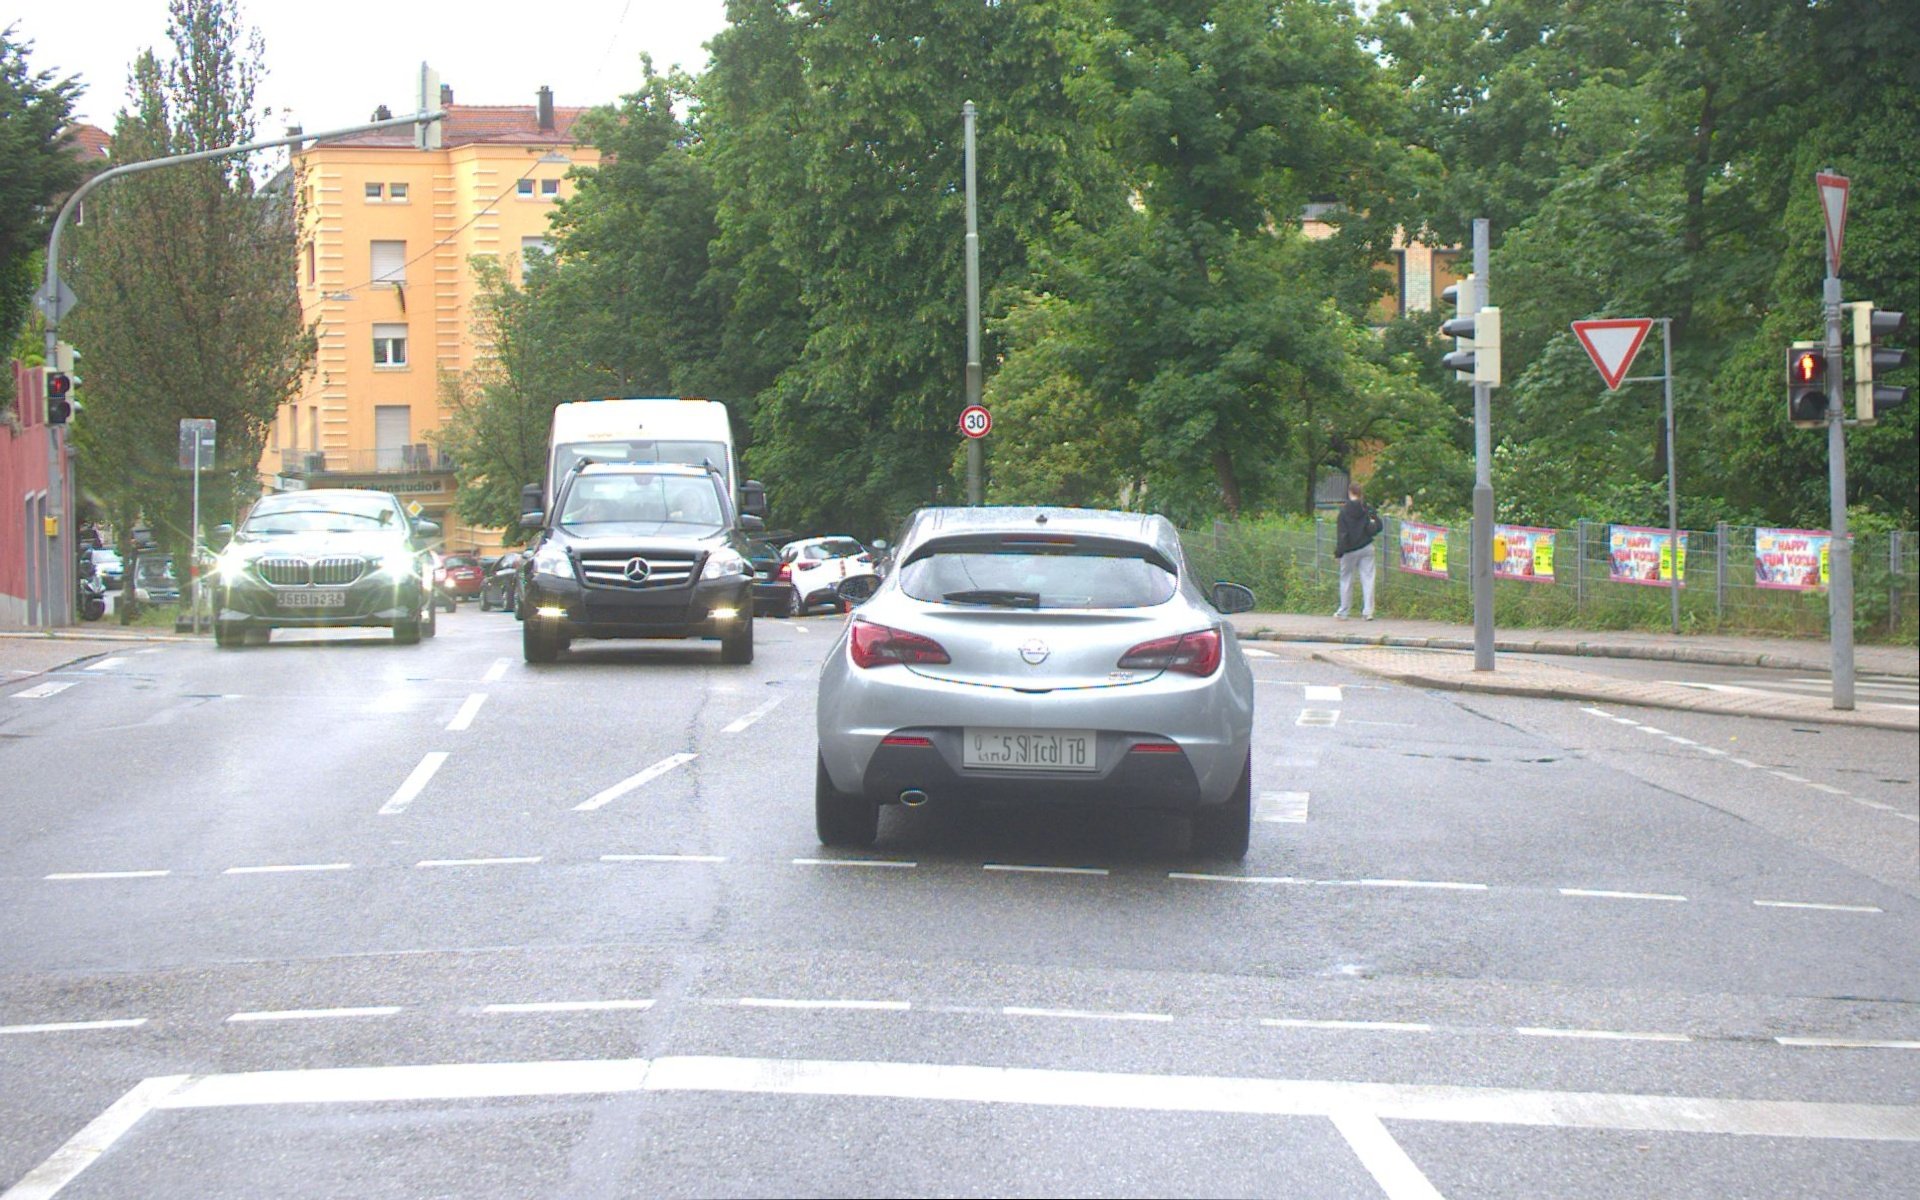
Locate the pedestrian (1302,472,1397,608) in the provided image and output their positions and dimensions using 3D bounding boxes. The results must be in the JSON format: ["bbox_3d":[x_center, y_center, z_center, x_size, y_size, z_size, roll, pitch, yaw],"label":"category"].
[{"bbox_3d":[4.751,-0.726,41.959,0.765,1.600,0.966,-3,1,-15],"label":"pedestrian"}]

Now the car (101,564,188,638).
[{"bbox_3d":[-18.222,0.040,76.722,1.814,1.607,4.001,0,0,-14],"label":"car"}]

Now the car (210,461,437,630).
[{"bbox_3d":[-6.114,-0.596,33.513,1.852,1.481,5.369,-1,2,-7],"label":"car"}]

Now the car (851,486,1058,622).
[{"bbox_3d":[-0.113,-0.486,38.833,1.776,1.425,3.786,0,-1,-9],"label":"car"}]

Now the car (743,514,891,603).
[{"bbox_3d":[-2.875,-0.809,68.220,1.814,1.490,4.001,-7,1,-17],"label":"car"}]

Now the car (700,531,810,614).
[{"bbox_3d":[-3.674,-0.501,61.094,1.382,1.407,3.457,-2,1,-12],"label":"car"}]

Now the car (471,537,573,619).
[{"bbox_3d":[-10.537,-0.544,82.541,1.639,1.683,3.718,-1,5,-20],"label":"car"}]

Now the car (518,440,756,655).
[{"bbox_3d":[-2.662,-0.475,28.740,1.821,1.646,4.347,0,2,-4],"label":"car"}]

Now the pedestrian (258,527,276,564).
[{"bbox_3d":[-28.097,-2.205,139.373,0.613,1.491,0.553,-1,3,-20],"label":"pedestrian"}]

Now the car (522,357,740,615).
[{"bbox_3d":[-3.516,-1.170,36.994,2.117,2.537,5.541,-1,1,-5],"label":"car"}]

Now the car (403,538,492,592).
[{"bbox_3d":[-15.997,-1.081,107.220,1.814,1.462,4.001,-6,2,-21],"label":"car"}]

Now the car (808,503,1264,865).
[{"bbox_3d":[0.235,0.278,15.654,1.814,1.425,4.001,0,2,-2],"label":"car"}]
